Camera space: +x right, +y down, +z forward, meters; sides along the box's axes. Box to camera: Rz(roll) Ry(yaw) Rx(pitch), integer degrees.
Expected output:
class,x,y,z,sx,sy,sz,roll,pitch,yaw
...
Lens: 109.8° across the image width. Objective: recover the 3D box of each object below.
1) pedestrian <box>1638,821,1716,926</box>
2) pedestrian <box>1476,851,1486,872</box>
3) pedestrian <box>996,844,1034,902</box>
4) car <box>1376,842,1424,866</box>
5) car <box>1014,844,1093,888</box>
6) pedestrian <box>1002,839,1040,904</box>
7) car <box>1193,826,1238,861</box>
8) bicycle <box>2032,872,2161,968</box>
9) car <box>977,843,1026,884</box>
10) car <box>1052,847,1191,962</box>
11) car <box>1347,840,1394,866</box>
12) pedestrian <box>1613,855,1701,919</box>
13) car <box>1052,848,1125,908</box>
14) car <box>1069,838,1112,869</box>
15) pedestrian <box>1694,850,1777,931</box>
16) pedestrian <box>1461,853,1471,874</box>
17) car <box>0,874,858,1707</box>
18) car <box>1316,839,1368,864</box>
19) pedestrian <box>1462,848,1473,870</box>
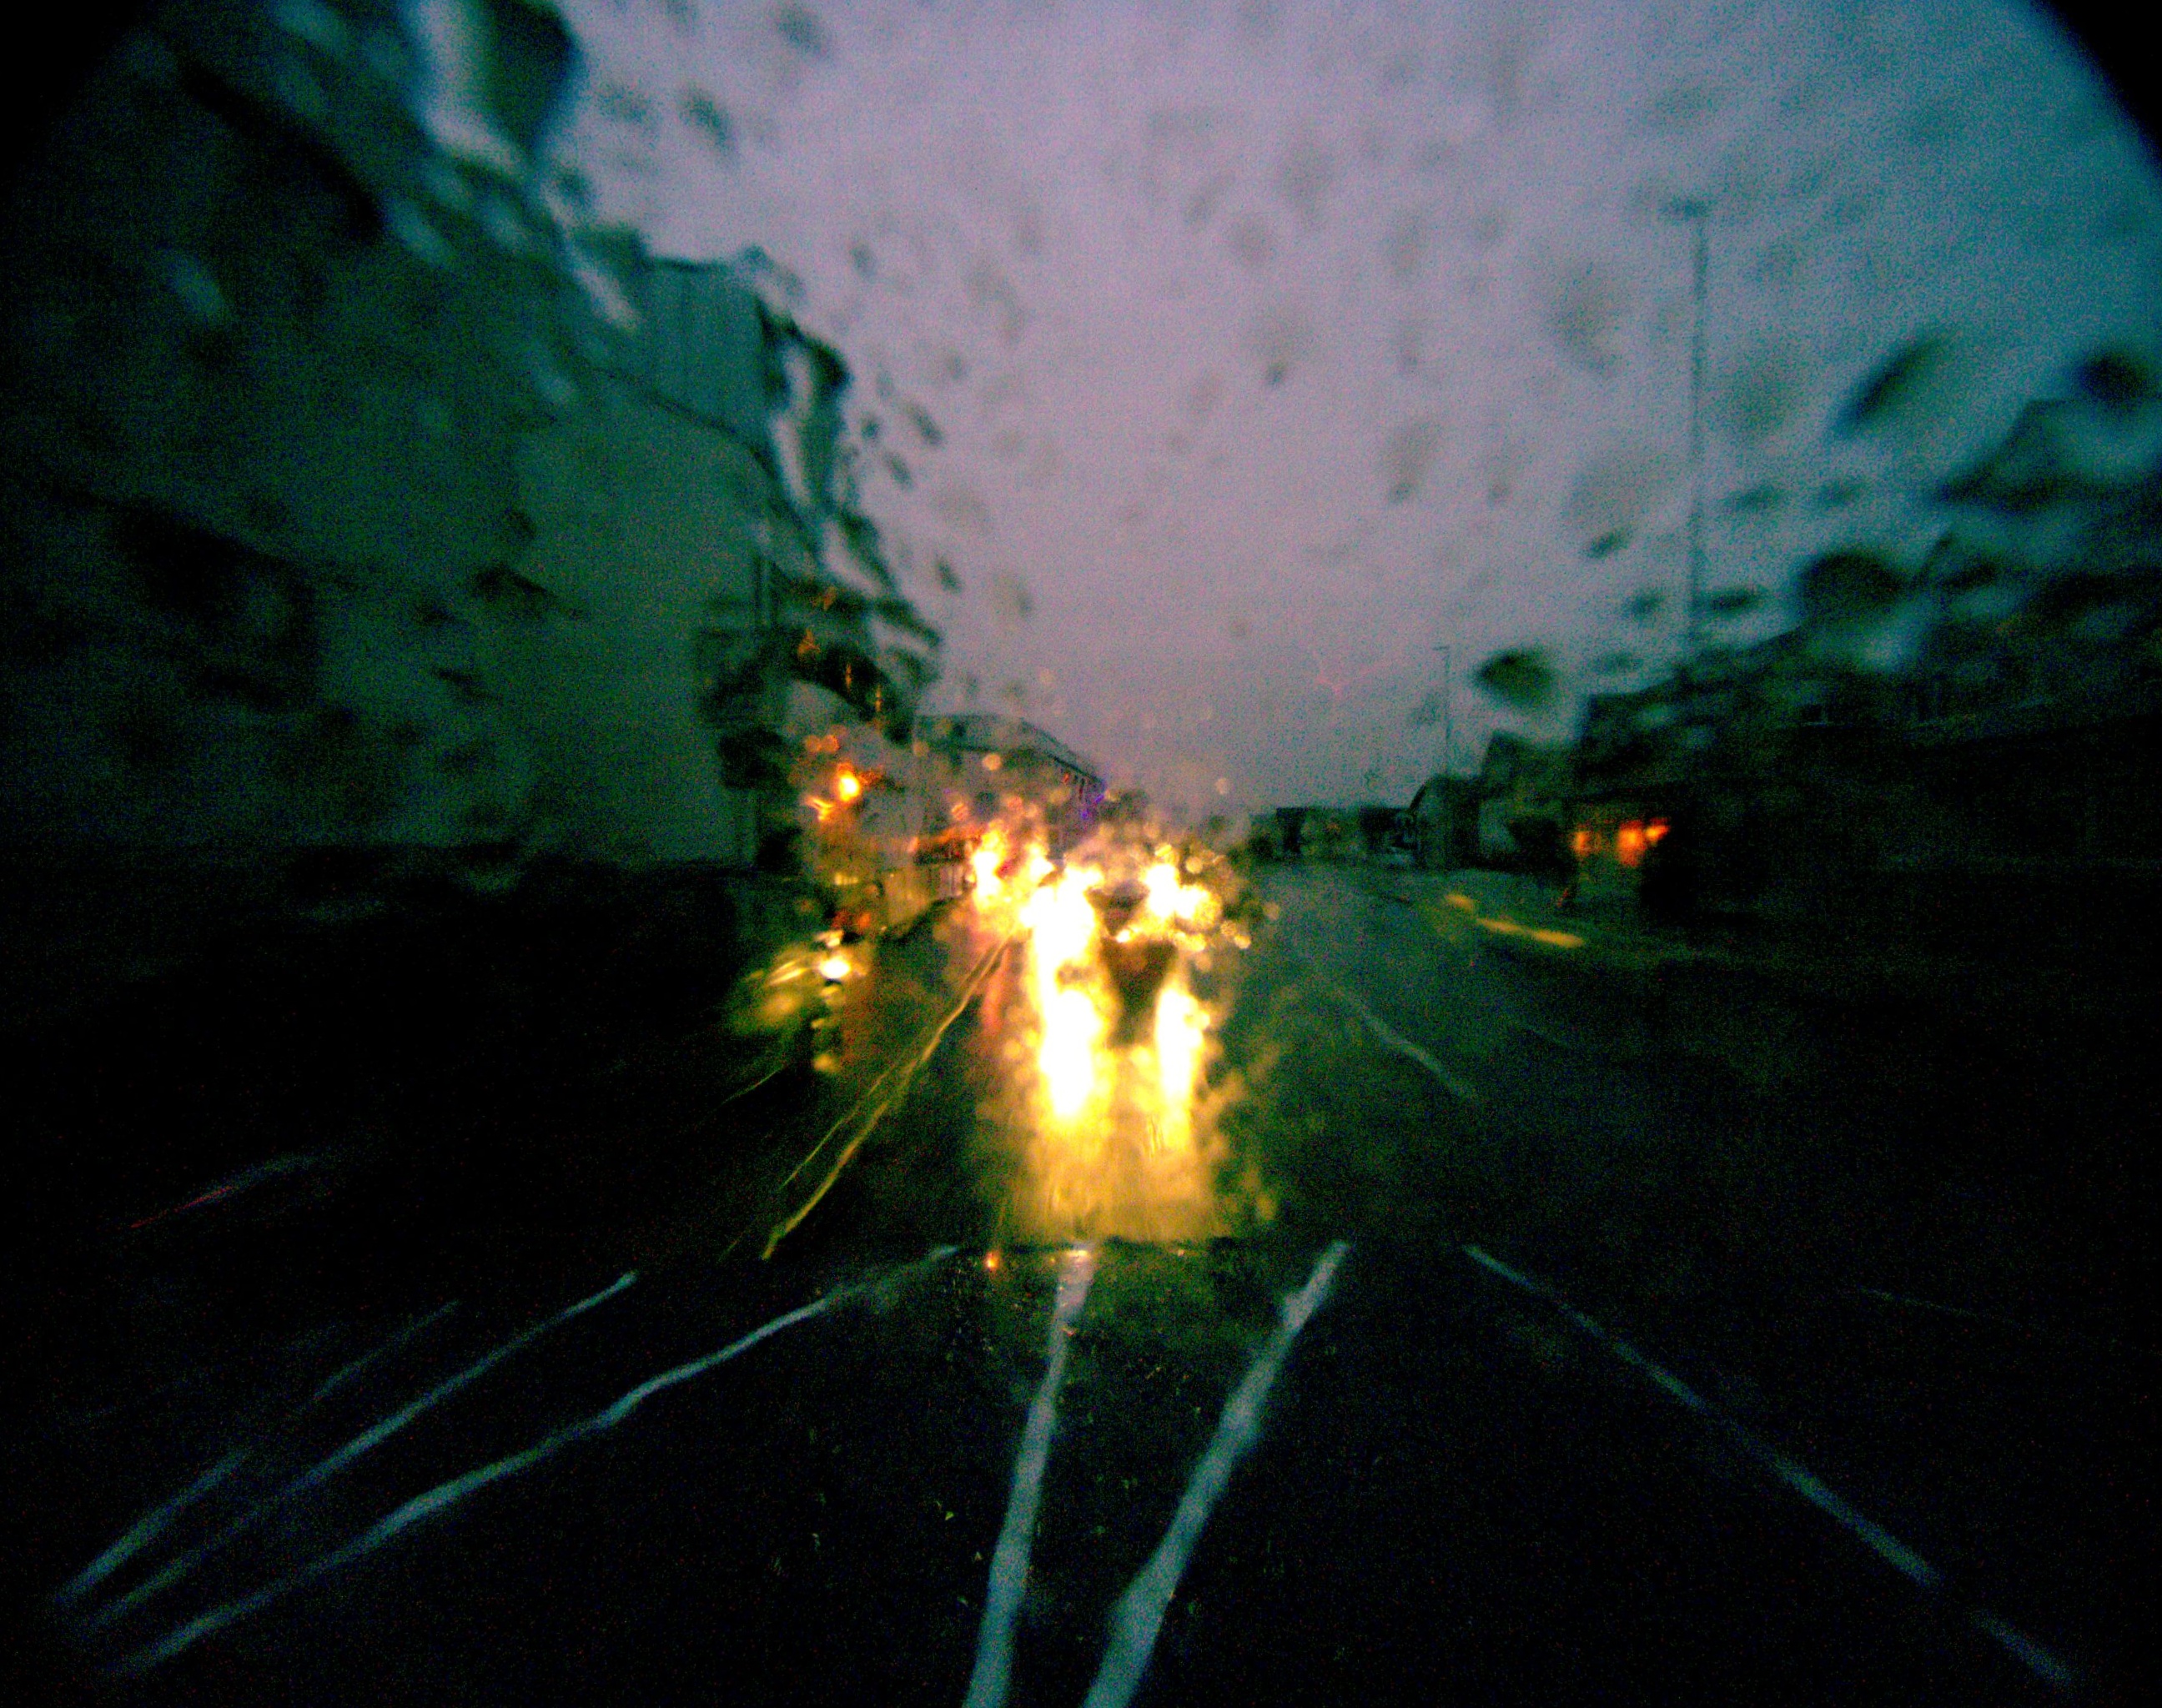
class,x,y,z,sx,sy,sz,roll,pitch,yaw
pedestrian,10.260,0.327,13.101,0.749,1.732,0.687,-2,1,1
pedestrian,32.066,0.589,60.946,0.582,1.602,0.500,-2,3,6
pedestrian,-2.052,0.571,23.714,0.789,1.752,0.769,1,4,44
car,27.711,0.004,66.183,1.936,1.871,3.866,-3,3,-12
car,-1.218,0.418,30.690,2.030,1.471,4.549,-3,3,-17
pedestrian,-1.801,0.509,22.768,0.789,1.856,0.711,1,4,44
car,8.406,-0.694,47.216,2.055,1.976,4.541,-1,3,18
bicycle,12.421,0.753,9.048,0.470,1.004,1.741,0,1,18
car,-3.917,0.399,36.922,1.827,1.736,3.994,-3,3,-13
car,0.554,0.702,12.988,1.958,1.576,4.108,-2,1,-1
car,25.033,-0.151,65.904,1.926,2.003,3.966,-3,3,-12
pedestrian,10.759,0.609,14.225,0.990,1.151,0.903,-2,-1,10
car,0.130,0.633,22.714,1.763,1.471,4.016,-2,2,-5
car,0.527,-0.075,41.865,2.172,1.469,3.998,-2,3,1
pedestrian,10.584,0.575,12.307,0.687,1.264,0.750,-2,0,6
pedestrian,30.662,0.743,60.523,0.582,1.602,0.500,-2,3,6
car,-2.633,0.905,3.498,1.732,1.456,4.199,2,0,3
car,22.407,-0.245,65.349,1.974,1.984,3.990,-4,3,-25
pedestrian,29.425,0.358,57.839,0.582,1.602,0.500,-2,3,6
